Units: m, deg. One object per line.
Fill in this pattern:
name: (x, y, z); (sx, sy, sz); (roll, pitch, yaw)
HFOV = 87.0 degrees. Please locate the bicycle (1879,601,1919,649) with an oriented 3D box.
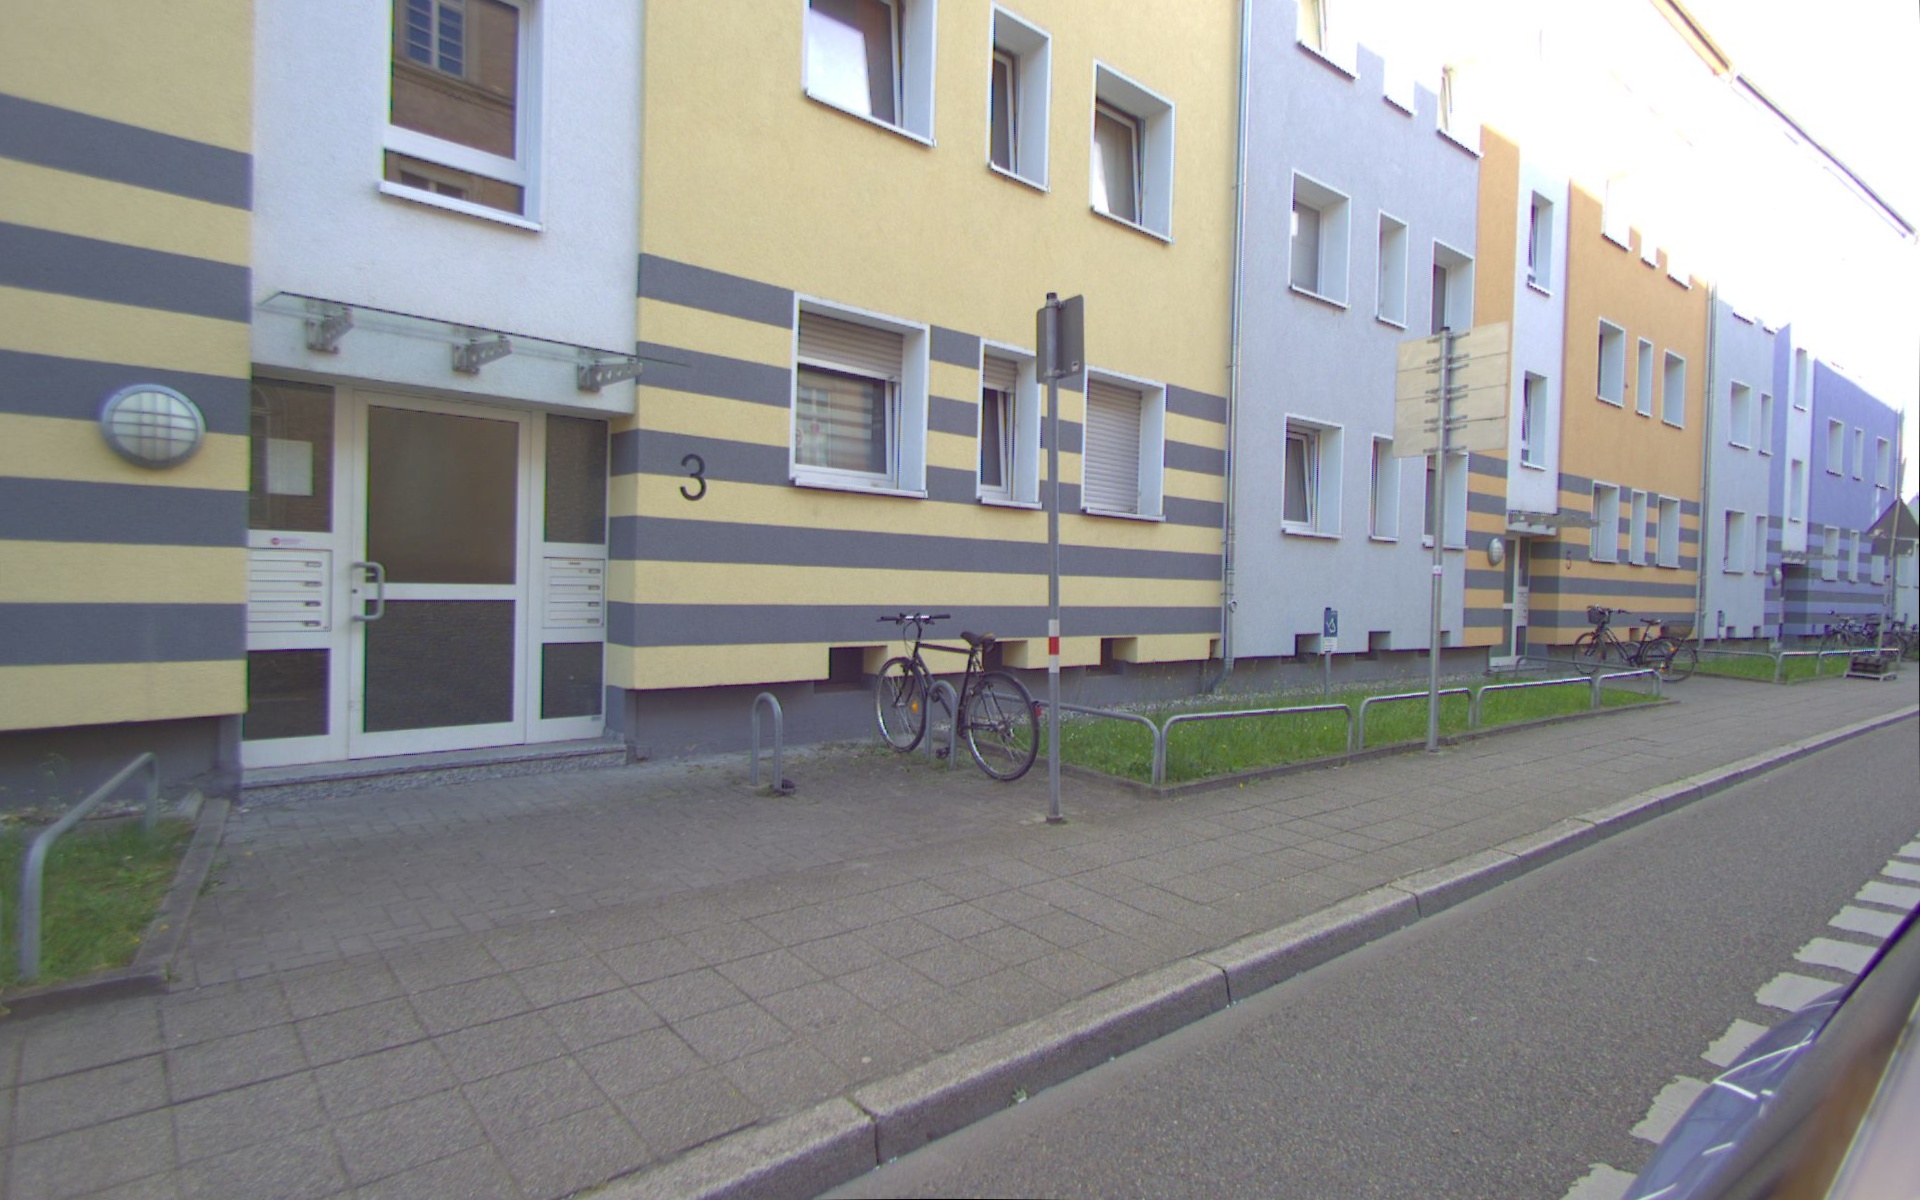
bicycle: (24.130, 0.650, 25.263); (0.475, 1.166, 1.678); (1, 1, -37)

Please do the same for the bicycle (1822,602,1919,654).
bicycle: (22.221, 0.656, 24.714); (0.475, 1.166, 1.678); (1, 1, -37)

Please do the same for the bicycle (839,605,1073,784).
bicycle: (-0.080, 0.587, 7.003); (1.775, 1.031, 0.476); (3, 1, 44)

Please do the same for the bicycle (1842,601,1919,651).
bicycle: (23.302, 0.639, 25.406); (0.475, 1.166, 1.678); (1, 1, -37)

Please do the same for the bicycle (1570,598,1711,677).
bicycle: (10.682, 0.560, 15.931); (1.775, 1.137, 0.476); (3, 1, 44)
